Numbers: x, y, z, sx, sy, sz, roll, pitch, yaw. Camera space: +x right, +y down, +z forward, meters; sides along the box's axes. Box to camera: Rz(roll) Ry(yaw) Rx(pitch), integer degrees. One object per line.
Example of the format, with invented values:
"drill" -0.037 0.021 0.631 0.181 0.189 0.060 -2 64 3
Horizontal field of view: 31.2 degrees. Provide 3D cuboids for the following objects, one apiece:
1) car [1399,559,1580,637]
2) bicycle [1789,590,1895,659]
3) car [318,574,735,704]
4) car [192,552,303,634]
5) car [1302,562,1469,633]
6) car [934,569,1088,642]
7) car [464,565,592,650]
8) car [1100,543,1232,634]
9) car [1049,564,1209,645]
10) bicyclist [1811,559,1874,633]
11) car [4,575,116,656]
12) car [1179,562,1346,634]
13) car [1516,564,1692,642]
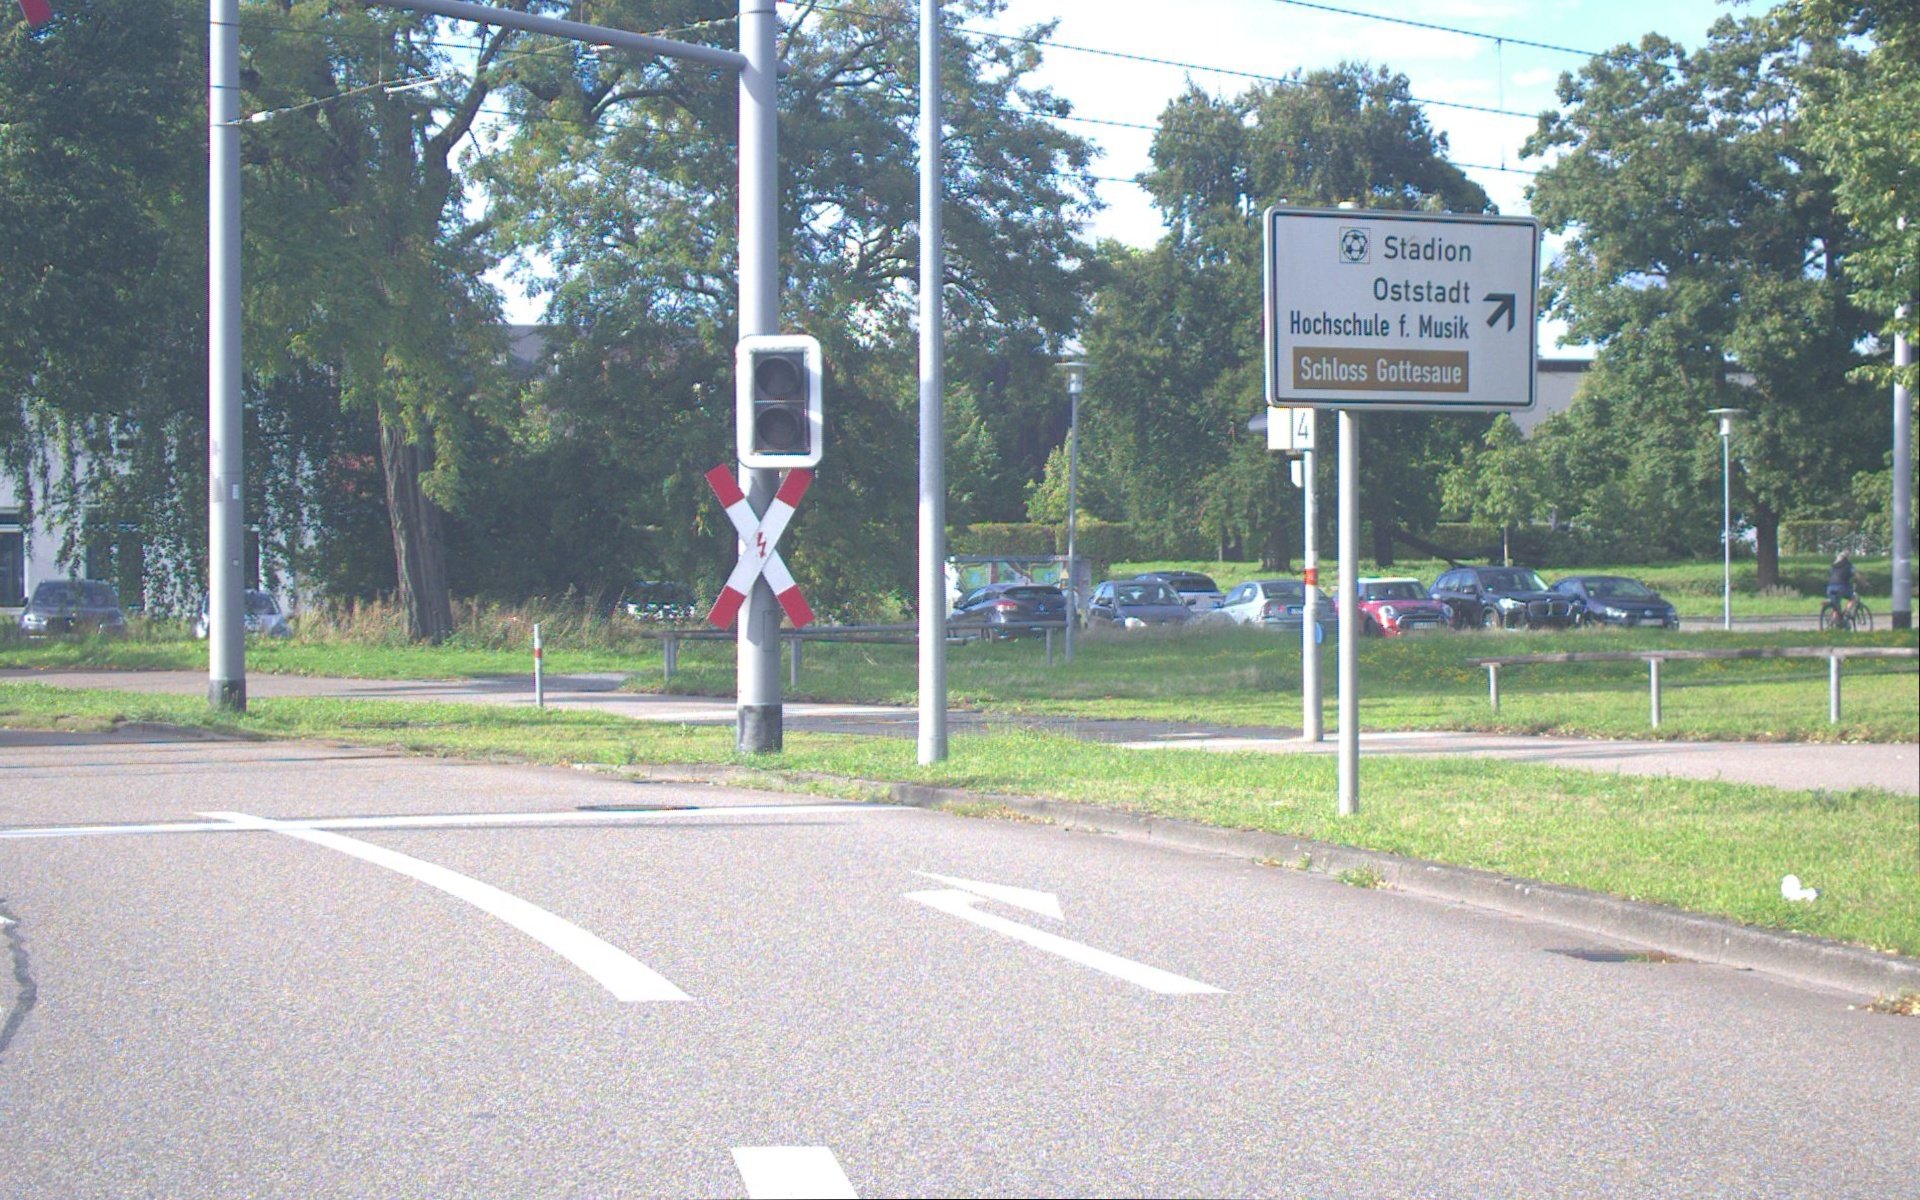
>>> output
"car" 10.568 -0.056 69.013 1.854 1.510 4.946 0 0 -13
"bicycle" 16.331 0.447 63.631 2.522 1.218 0.714 -1 1 -45
"car" -5.068 0.452 39.958 4.644 1.426 1.902 1 0 -12
"car" -13.159 -0.146 63.300 1.854 1.435 4.735 0 0 -13
"car" 8.452 -0.063 68.679 1.854 1.358 4.470 0 0 -13
"car" 0.942 0.083 66.443 1.854 1.354 4.735 0 0 -13
"car" -8.081 0.123 63.982 1.854 1.510 4.735 0 0 -13
"car" 4.747 -0.231 79.944 1.871 2.007 4.811 2 -1 -11
"car" 3.258 0.072 67.124 1.854 1.510 4.749 0 0 -13
"bicyclist" 16.332 -0.088 63.640 1.003 1.350 0.714 -1 1 -45
"car" -16.187 0.253 61.984 1.854 1.376 4.516 0 0 -13
"car" 5.943 -0.052 68.192 1.854 1.353 4.835 0 0 -13
"car" 13.032 0.042 69.868 1.854 1.510 4.470 0 0 -13
